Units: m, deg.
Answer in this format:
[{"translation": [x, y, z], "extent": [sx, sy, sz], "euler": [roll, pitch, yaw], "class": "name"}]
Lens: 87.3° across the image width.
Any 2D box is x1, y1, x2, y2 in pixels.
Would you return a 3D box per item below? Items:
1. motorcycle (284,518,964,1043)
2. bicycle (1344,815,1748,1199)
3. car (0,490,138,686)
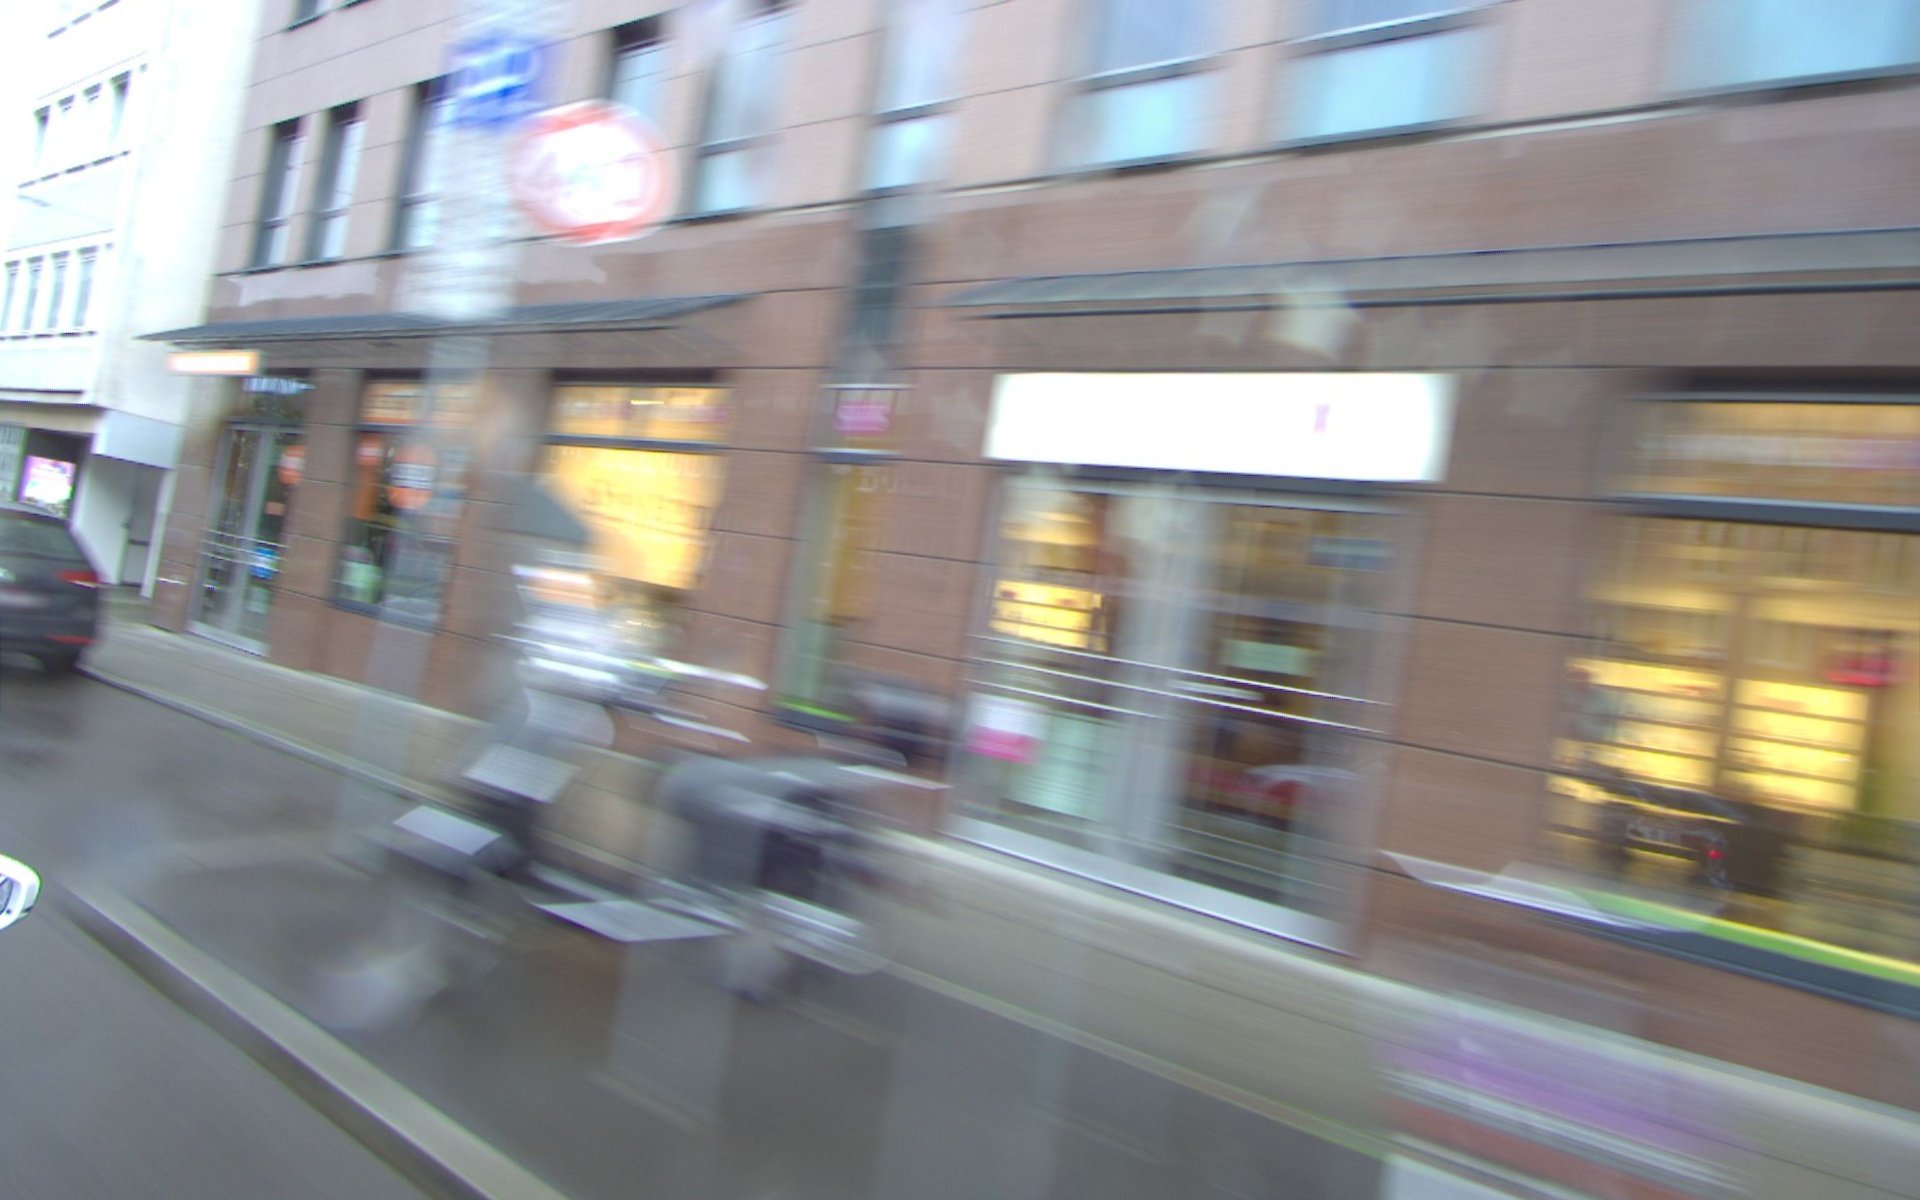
[{"translation": [-1.106, 0.612, 3.689], "extent": [2.076, 1.423, 0.790], "euler": [10, -3, -39], "class": "motorcycle"}, {"translation": [1.234, 1.089, 2.190], "extent": [0.454, 1.042, 1.791], "euler": [6, -3, 31], "class": "bicycle"}, {"translation": [-9.470, -0.338, 8.921], "extent": [4.531, 1.484, 1.779], "euler": [7, -3, 30], "class": "car"}]
